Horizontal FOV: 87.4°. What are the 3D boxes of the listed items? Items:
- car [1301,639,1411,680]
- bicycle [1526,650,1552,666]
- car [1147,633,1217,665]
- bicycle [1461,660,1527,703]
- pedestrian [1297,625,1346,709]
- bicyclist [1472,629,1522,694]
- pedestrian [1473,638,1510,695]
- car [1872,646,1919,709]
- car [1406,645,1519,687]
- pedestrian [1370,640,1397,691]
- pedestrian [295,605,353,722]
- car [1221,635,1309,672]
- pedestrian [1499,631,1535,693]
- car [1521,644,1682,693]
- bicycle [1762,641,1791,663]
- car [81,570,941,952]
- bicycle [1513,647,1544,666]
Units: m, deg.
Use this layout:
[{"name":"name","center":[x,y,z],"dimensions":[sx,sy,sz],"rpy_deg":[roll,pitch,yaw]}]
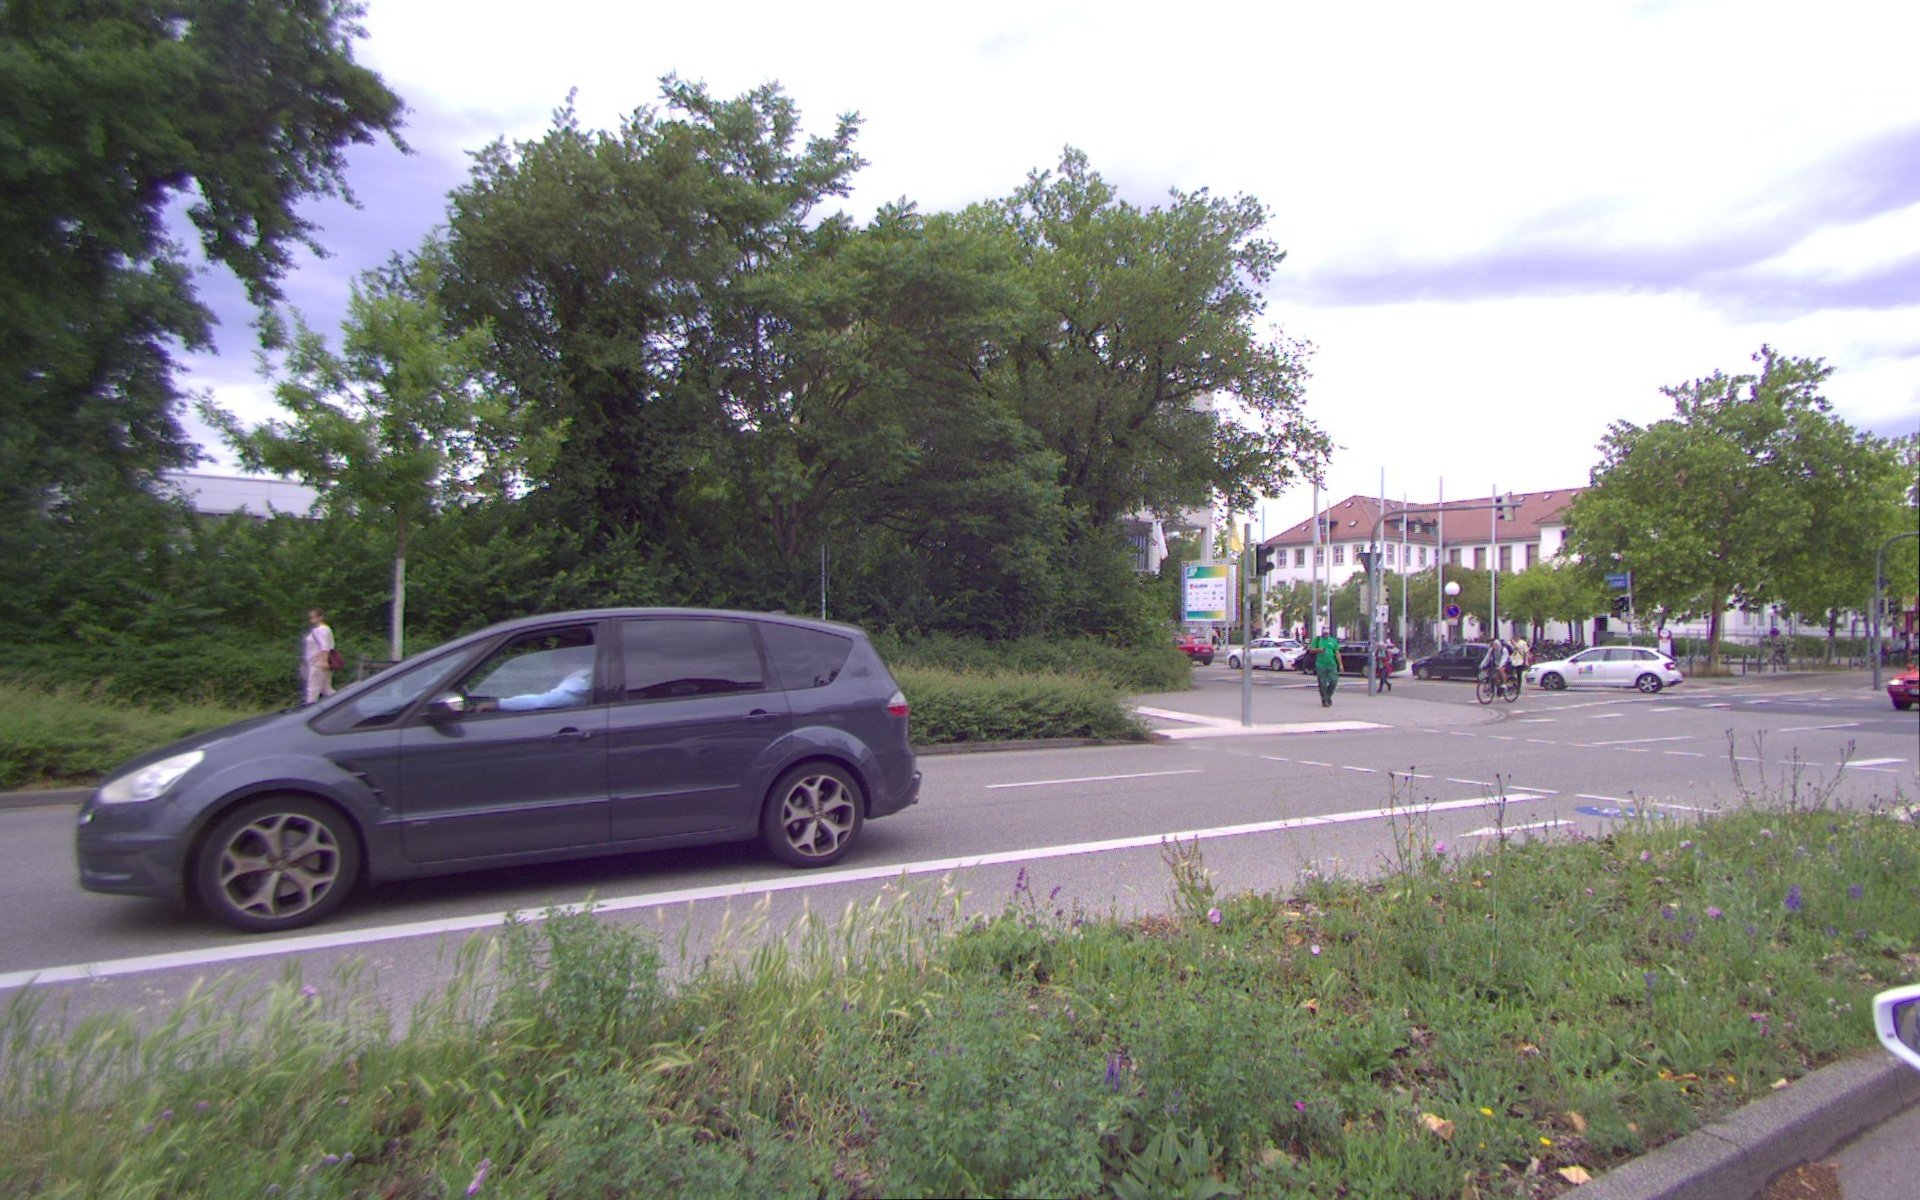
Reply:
[{"name":"car","center":[16.738,2.498,42.602],"dimensions":[4.006,1.472,1.613],"rpy_deg":[-2,3,43]},{"name":"bicycle","center":[32.677,3.250,56.681],"dimensions":[1.191,0.892,0.263],"rpy_deg":[-2,-3,38]},{"name":"car","center":[11.380,2.490,51.682],"dimensions":[1.547,1.499,3.322],"rpy_deg":[1,0,-36]},{"name":"bicycle","center":[14.034,2.134,26.394],"dimensions":[1.596,1.076,0.665],"rpy_deg":[2,-1,-22]},{"name":"pedestrian","center":[8.028,1.460,22.321],"dimensions":[0.924,1.782,0.876],"rpy_deg":[2,-1,16]},{"name":"bicyclist","center":[14.123,1.603,26.418],"dimensions":[0.947,1.657,0.665],"rpy_deg":[2,-1,-22]},{"name":"pedestrian","center":[15.238,1.903,28.811],"dimensions":[0.776,1.578,0.700],"rpy_deg":[2,-4,16]},{"name":"car","center":[24.104,1.820,24.173],"dimensions":[4.236,1.437,1.709],"rpy_deg":[1,-2,-25]},{"name":"car","center":[19.611,2.550,39.322],"dimensions":[1.548,1.240,3.630],"rpy_deg":[-7,4,-35]},{"name":"pedestrian","center":[13.324,2.066,31.605],"dimensions":[0.563,1.545,0.846],"rpy_deg":[0,-6,36]},{"name":"pedestrian","center":[-9.299,0.913,14.709],"dimensions":[0.663,1.657,0.697],"rpy_deg":[1,-3,-30]},{"name":"car","center":[14.391,2.500,47.584],"dimensions":[1.667,1.560,3.857],"rpy_deg":[-1,0,-32]},{"name":"pedestrian","center":[16.536,1.845,29.826],"dimensions":[0.829,1.761,0.828],"rpy_deg":[0,-6,36]},{"name":"car","center":[20.563,2.168,32.281],"dimensions":[4.163,1.450,1.703],"rpy_deg":[-3,-3,39]},{"name":"bicycle","center":[40.938,2.583,50.346],"dimensions":[2.025,1.074,0.603],"rpy_deg":[1,-3,-37]},{"name":"car","center":[-2.469,0.822,6.402],"dimensions":[4.347,1.686,1.912],"rpy_deg":[2,-4,-30]},{"name":"bicycle","center":[31.944,3.174,56.439],"dimensions":[1.385,1.066,0.586],"rpy_deg":[-3,-3,41]}]
